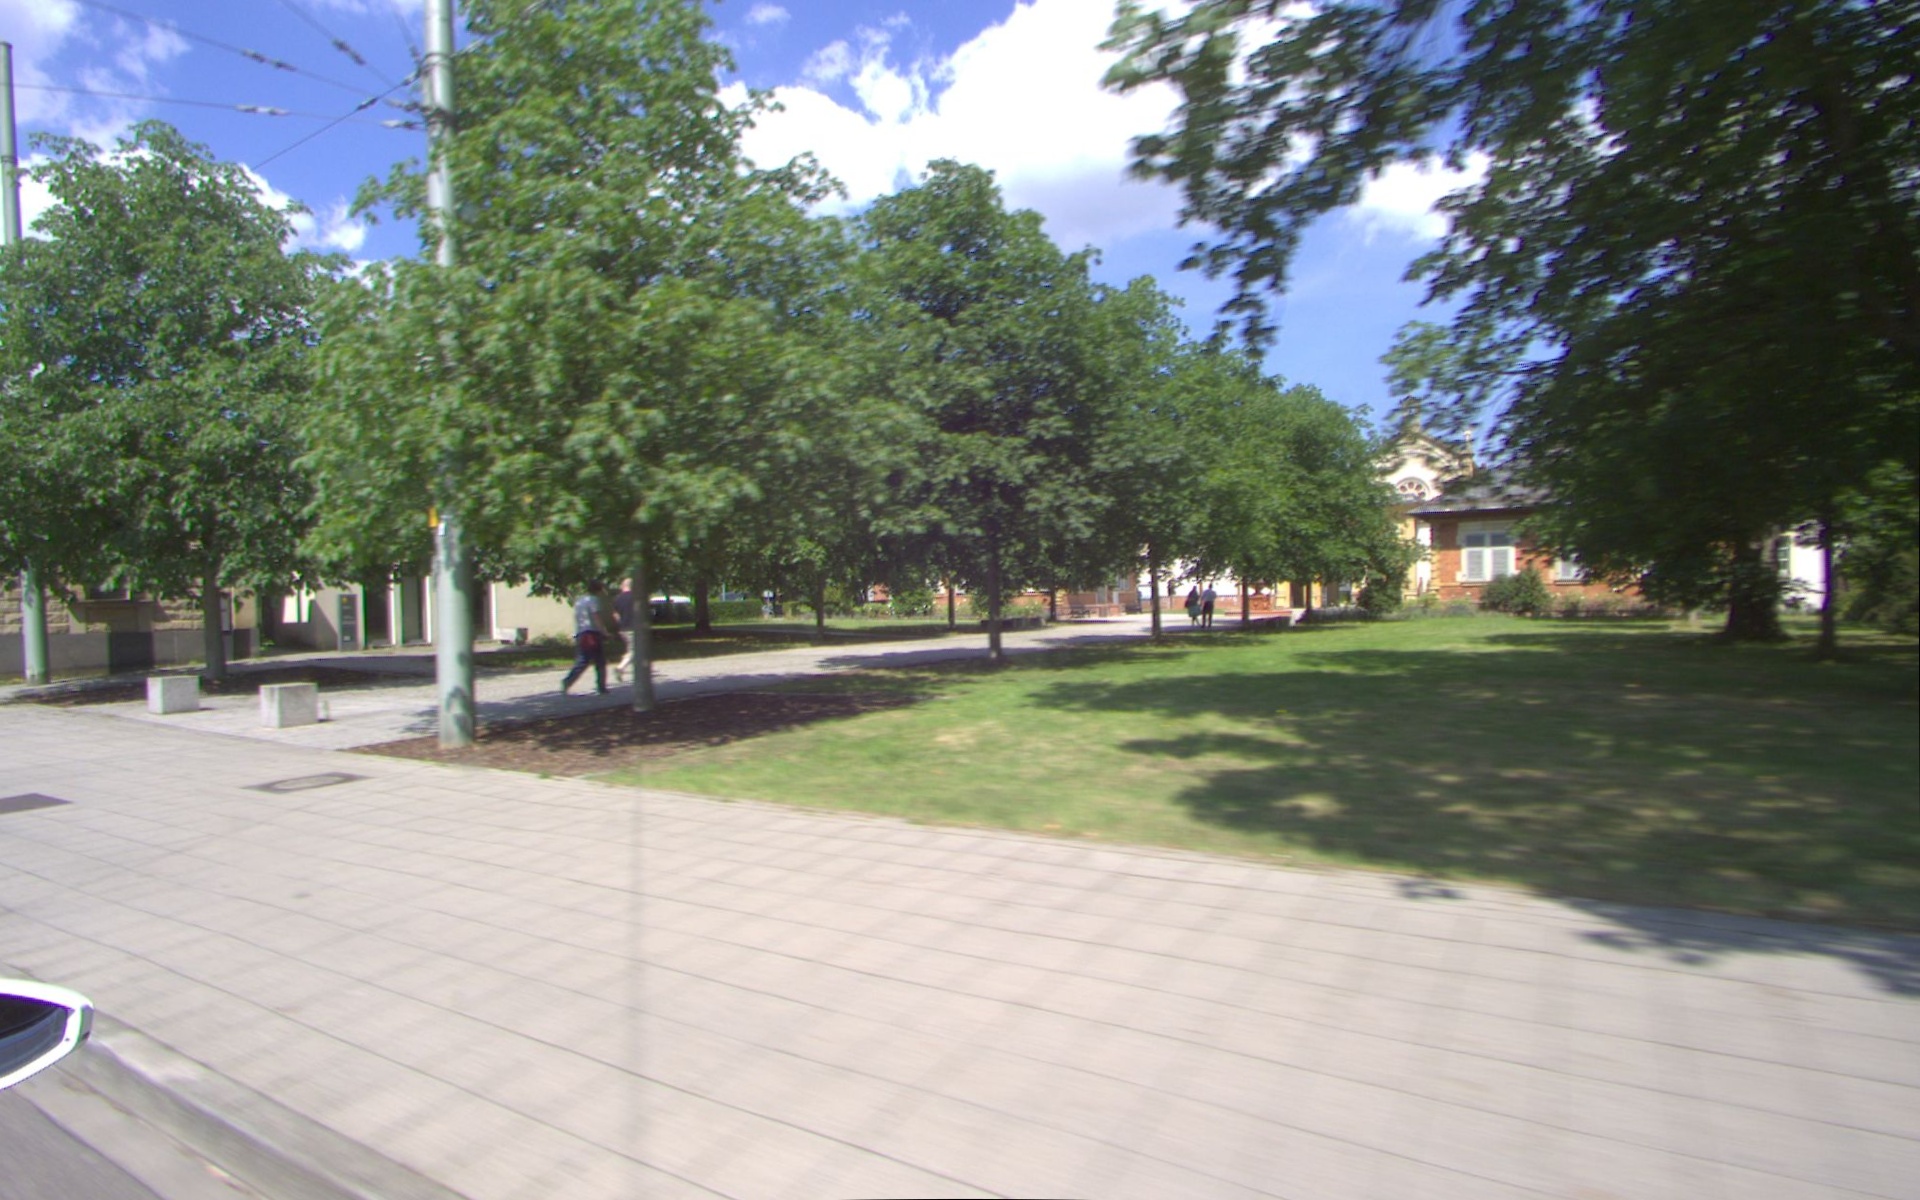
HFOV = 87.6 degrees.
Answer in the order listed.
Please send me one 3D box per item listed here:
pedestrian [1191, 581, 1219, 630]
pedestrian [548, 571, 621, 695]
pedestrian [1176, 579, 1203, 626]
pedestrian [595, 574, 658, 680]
[{"bbox_3d":[9.301,0.196,37.995,0.799,1.822,0.673,0,1,37],"label":"pedestrian"},{"bbox_3d":[-5.692,0.486,15.192,0.799,1.822,0.673,0,1,37],"label":"pedestrian"},{"bbox_3d":[8.929,0.088,39.020,0.799,1.822,0.673,0,1,37],"label":"pedestrian"},{"bbox_3d":[-5.831,0.465,17.502,0.799,1.804,0.673,0,1,37],"label":"pedestrian"}]
